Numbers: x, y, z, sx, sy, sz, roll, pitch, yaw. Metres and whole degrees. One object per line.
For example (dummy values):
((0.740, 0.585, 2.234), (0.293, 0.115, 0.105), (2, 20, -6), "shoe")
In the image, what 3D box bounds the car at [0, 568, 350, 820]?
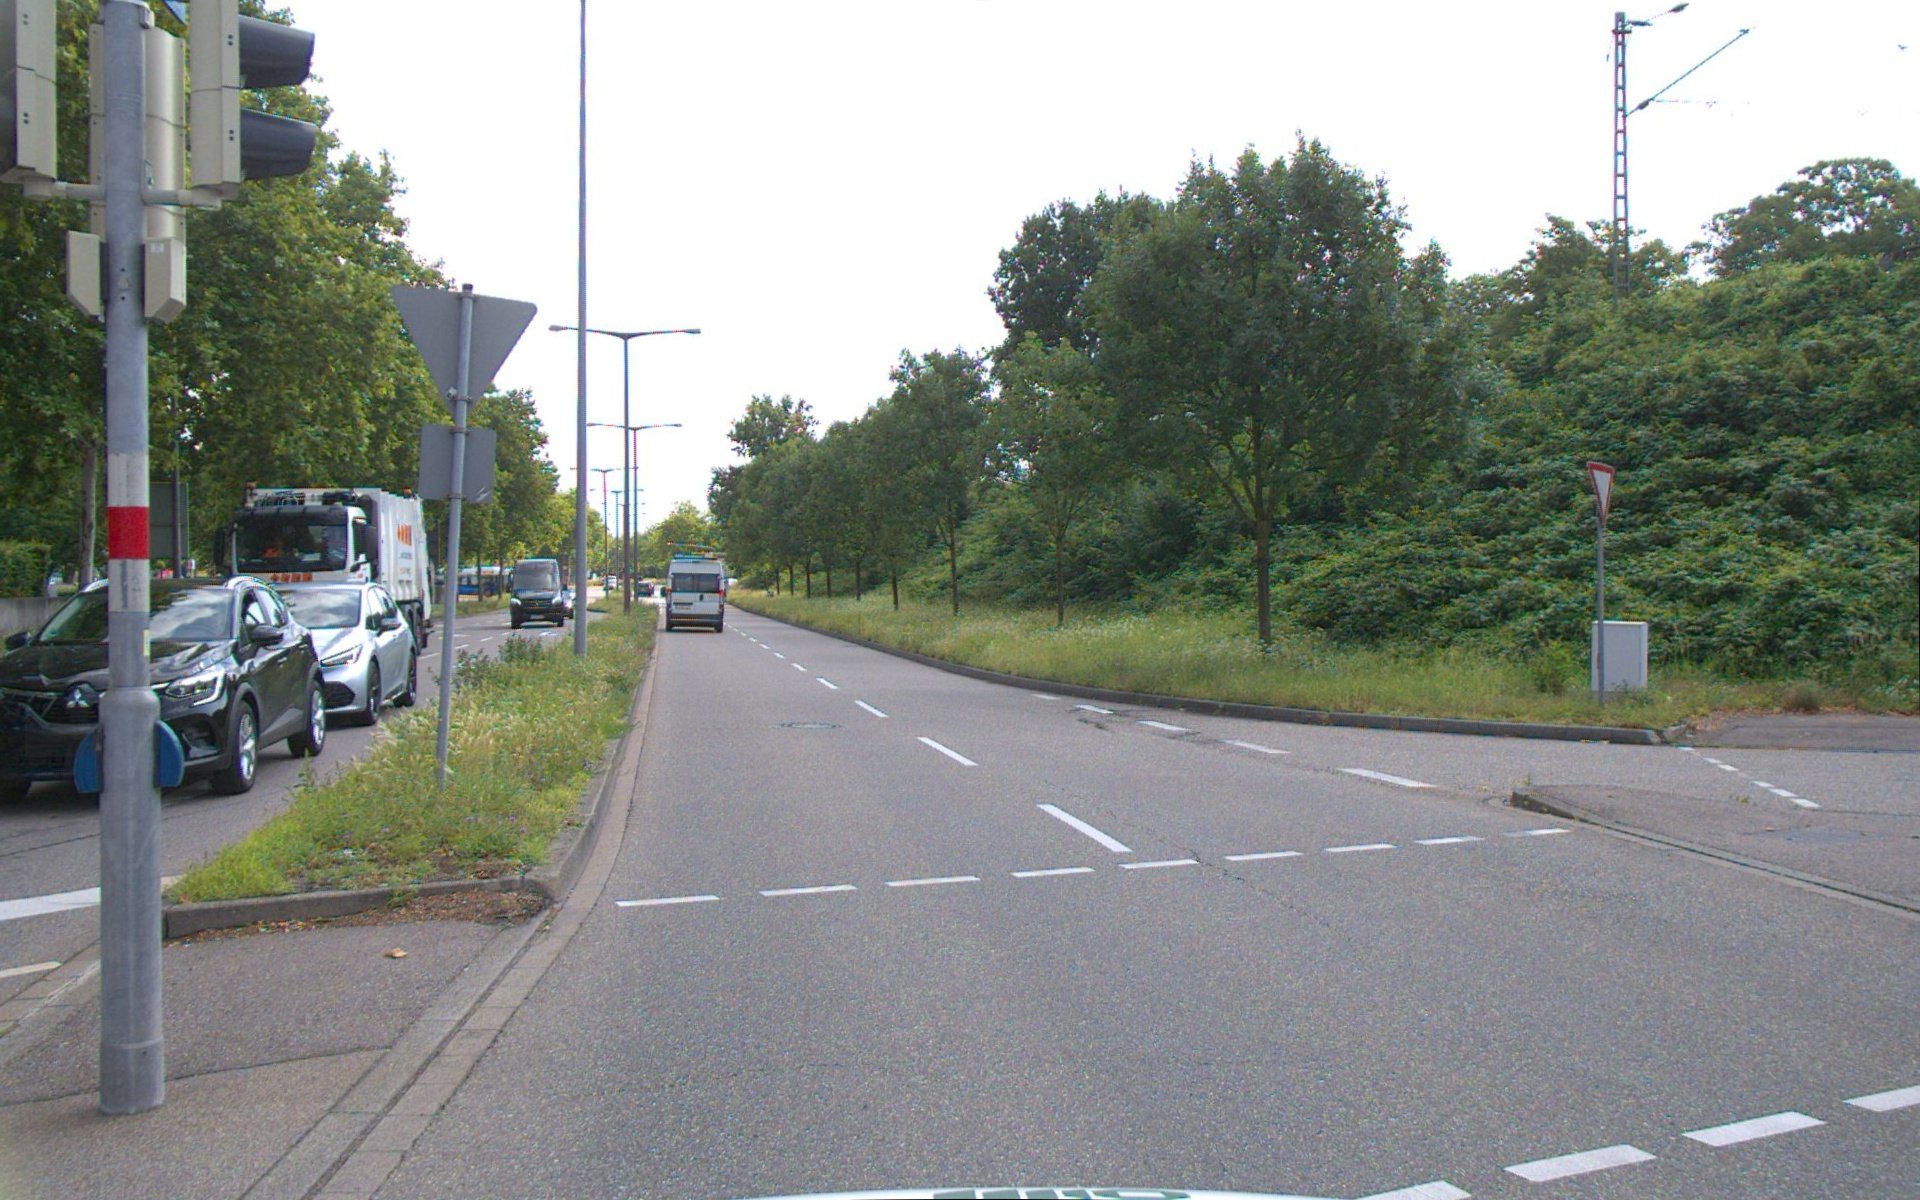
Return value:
((-6.147, 0.591, 13.003), (1.676, 1.615, 4.353), (-1, 1, -9), "car")

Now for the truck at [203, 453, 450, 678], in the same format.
((-12.979, -0.683, 34.898), (2.601, 3.955, 10.139), (-2, 1, -9), "truck")

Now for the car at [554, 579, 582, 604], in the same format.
((-27.839, -0.621, 117.662), (1.782, 1.668, 4.338), (-3, 1, -12), "car")

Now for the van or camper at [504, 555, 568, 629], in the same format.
((-16.573, -0.315, 64.921), (2.068, 2.706, 6.696), (-2, 1, -12), "van or camper")

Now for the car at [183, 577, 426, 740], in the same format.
((-7.388, 0.592, 19.053), (1.713, 1.579, 4.223), (-3, 1, -10), "car")

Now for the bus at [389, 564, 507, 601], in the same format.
((-53.463, -1.791, 172.720), (12.037, 3.331, 3.122), (-2, 0, 17), "bus")

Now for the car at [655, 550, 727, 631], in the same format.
((-9.700, -0.364, 59.354), (2.160, 2.773, 4.914), (1, 1, -14), "car")
